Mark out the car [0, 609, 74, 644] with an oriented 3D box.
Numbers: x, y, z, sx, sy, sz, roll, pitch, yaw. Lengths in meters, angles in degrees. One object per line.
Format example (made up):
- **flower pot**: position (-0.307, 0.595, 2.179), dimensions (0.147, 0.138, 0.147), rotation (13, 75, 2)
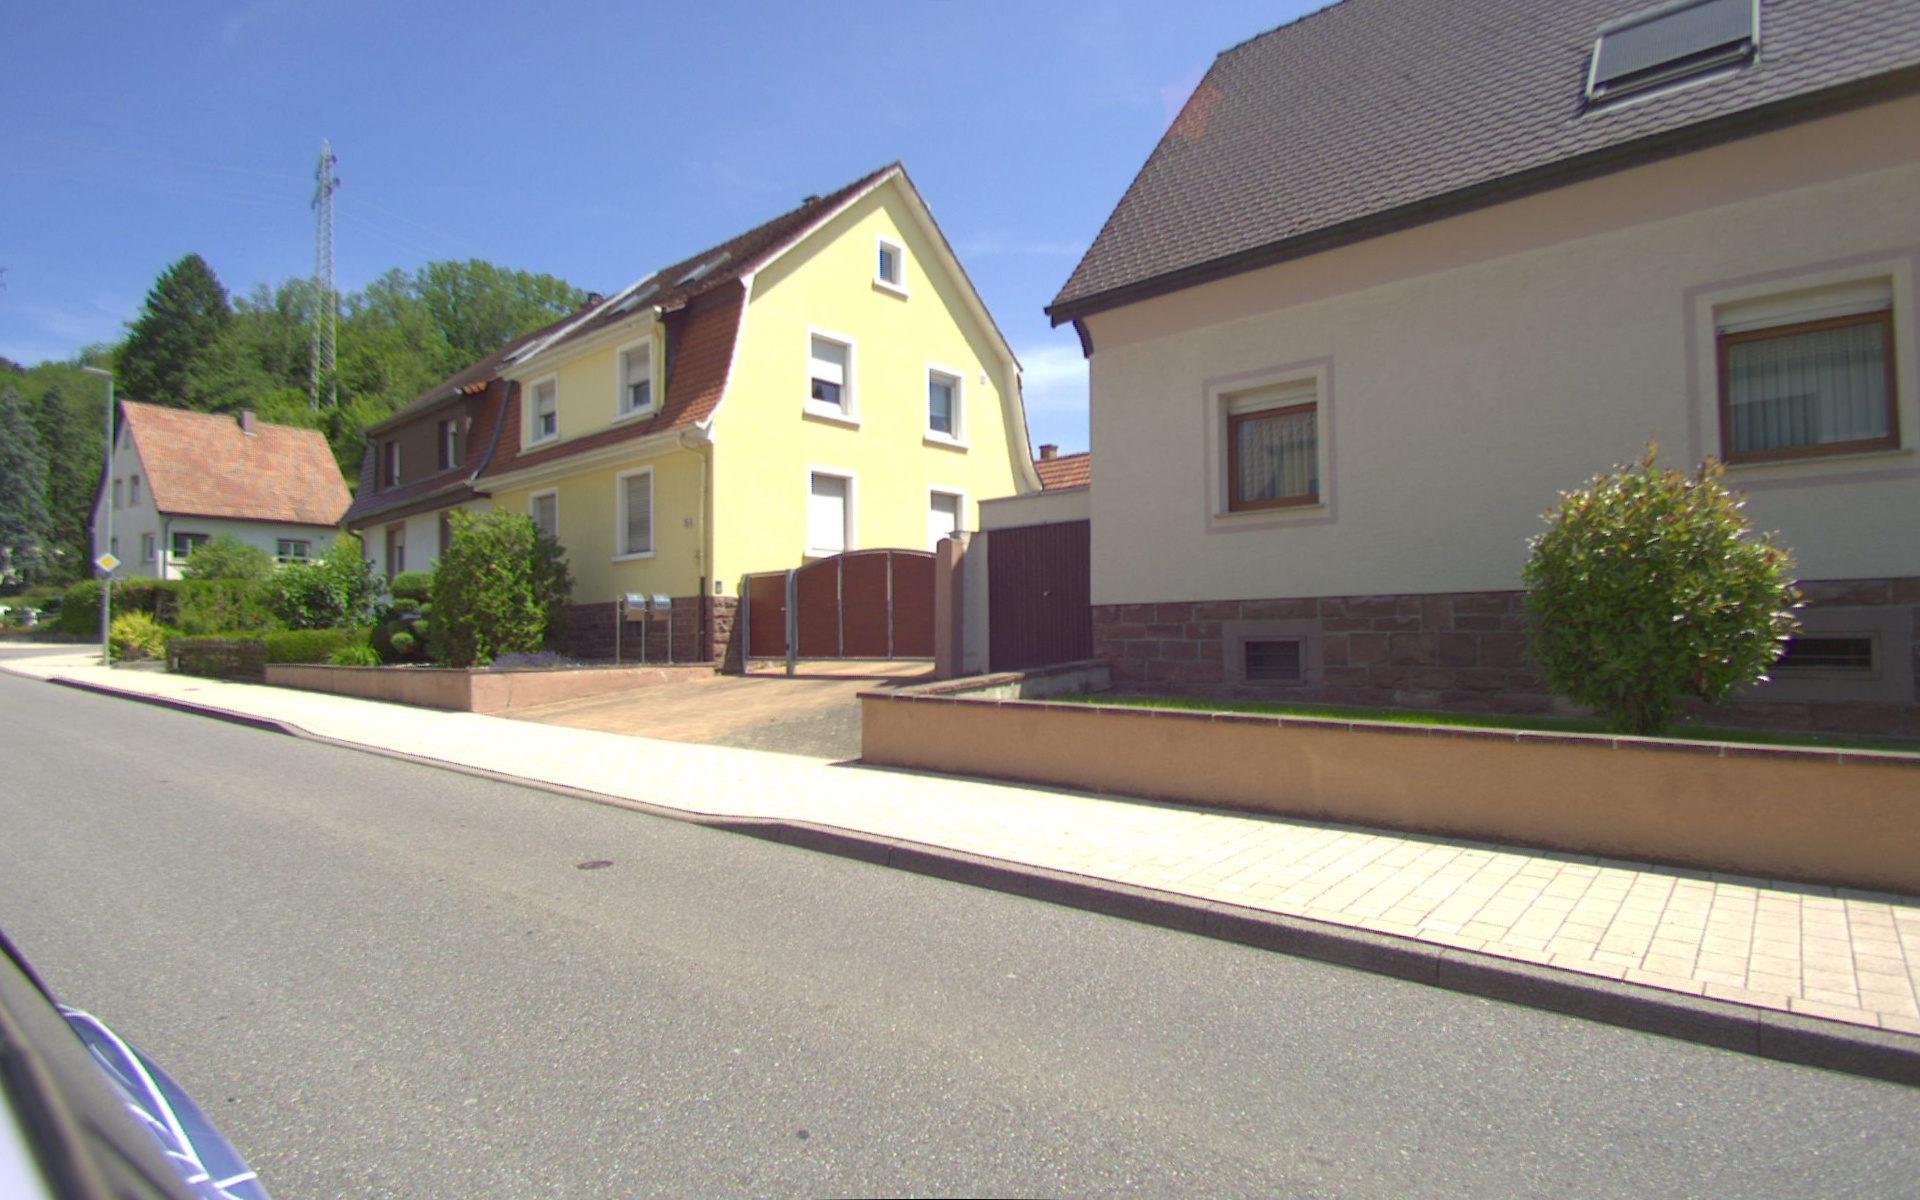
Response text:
- **car**: position (-51.161, 1.426, 55.173), dimensions (1.795, 1.803, 3.977), rotation (-1, -1, 17)
